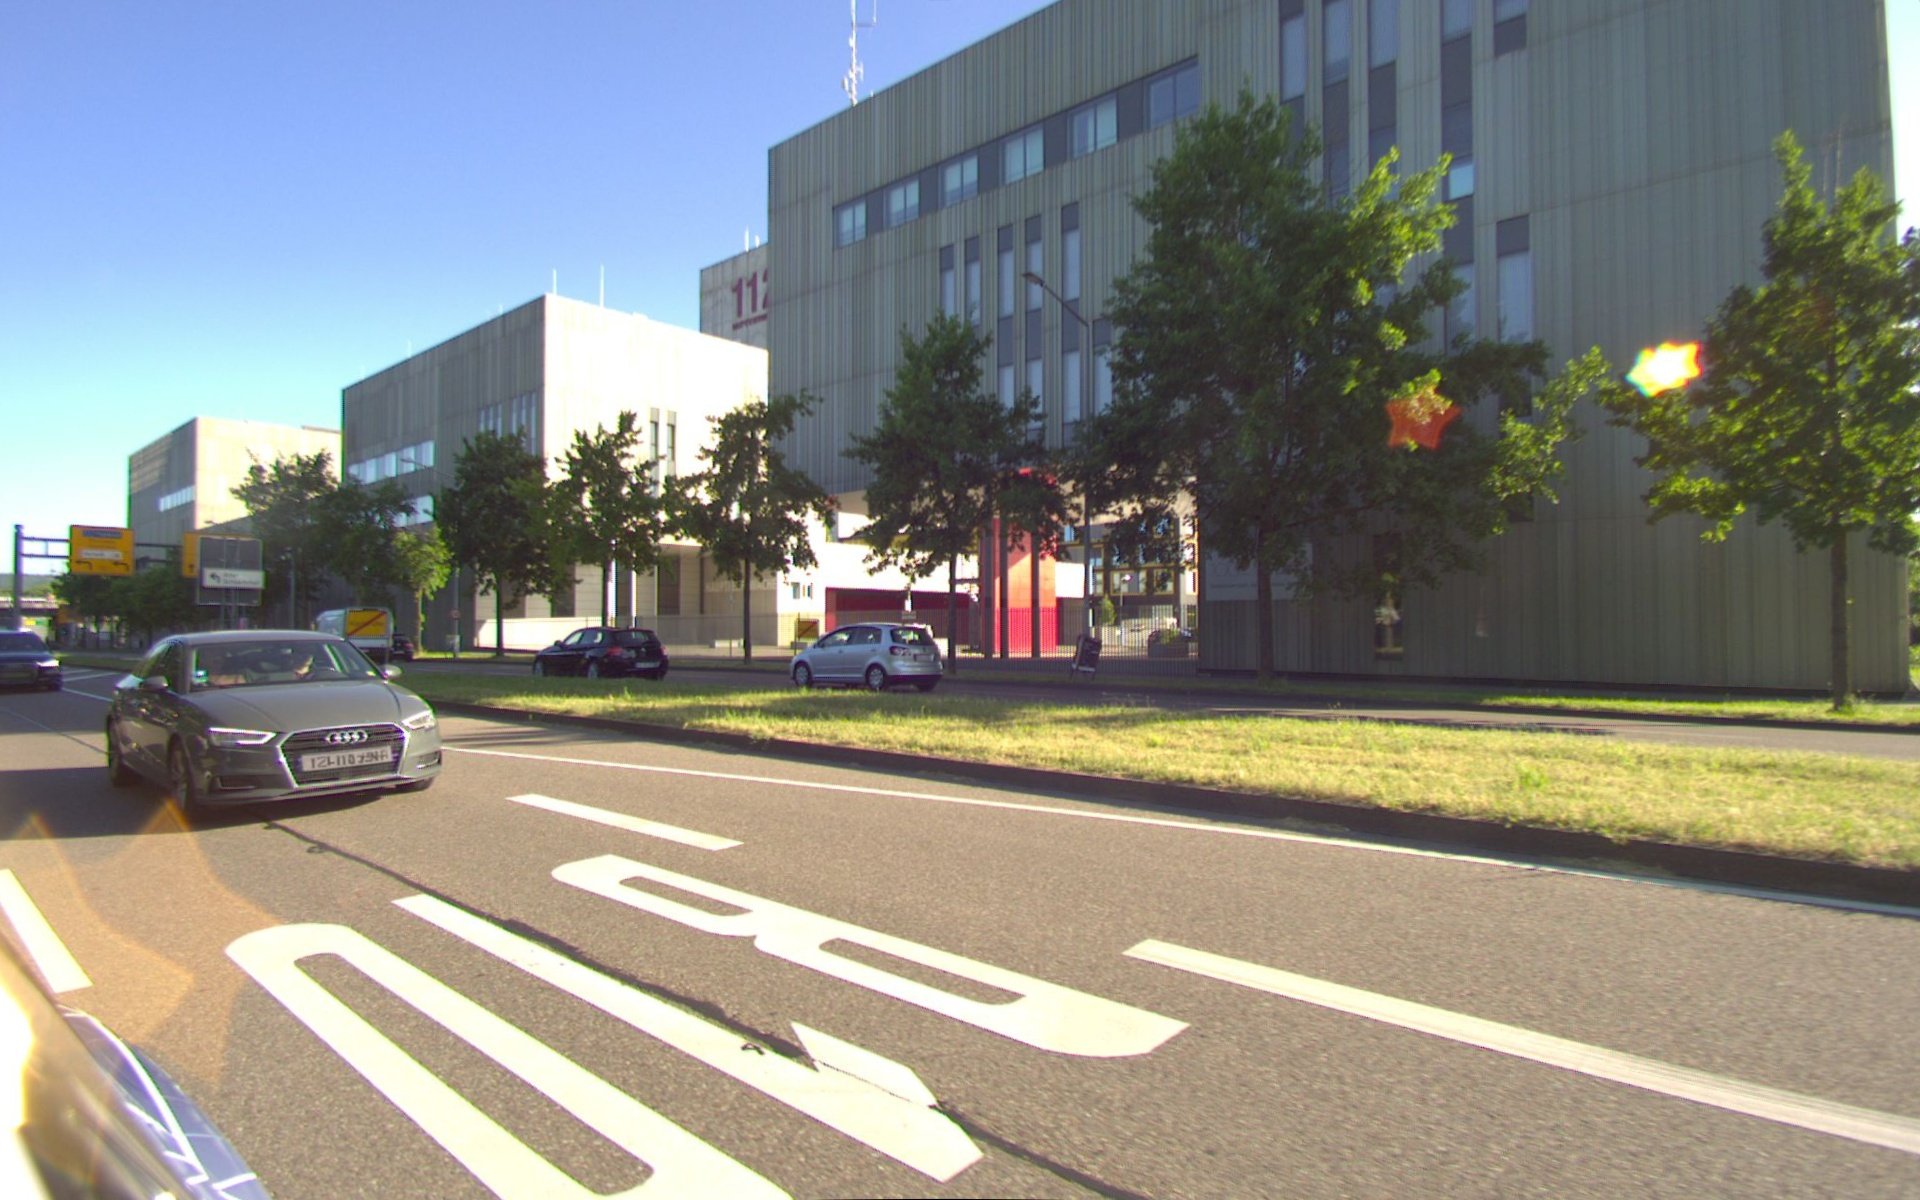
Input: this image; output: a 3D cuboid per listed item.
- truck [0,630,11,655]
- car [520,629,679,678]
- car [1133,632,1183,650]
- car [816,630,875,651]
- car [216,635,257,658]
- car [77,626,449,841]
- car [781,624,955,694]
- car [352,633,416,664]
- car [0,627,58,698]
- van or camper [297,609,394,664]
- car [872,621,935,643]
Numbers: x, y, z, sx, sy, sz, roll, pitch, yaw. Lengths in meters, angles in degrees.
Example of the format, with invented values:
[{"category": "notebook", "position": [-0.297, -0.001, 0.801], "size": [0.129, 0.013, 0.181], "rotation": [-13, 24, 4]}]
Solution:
[{"category": "truck", "position": [-115.510, 5.079, 120.714], "size": [7.112, 2.983, 2.657], "rotation": [-3, -5, 42]}, {"category": "car", "position": [-8.909, 1.286, 24.882], "size": [4.170, 1.120, 1.809], "rotation": [-2, -3, 40]}, {"category": "car", "position": [14.358, 2.961, 73.473], "size": [3.381, 1.268, 1.348], "rotation": [-2, -3, 41]}, {"category": "car", "position": [-8.460, 3.003, 75.007], "size": [1.762, 1.464, 4.209], "rotation": [-3, -3, 43]}, {"category": "car", "position": [-48.395, 3.118, 67.665], "size": [3.457, 1.447, 1.431], "rotation": [-2, -3, 40]}, {"category": "car", "position": [-6.235, 0.975, 8.844], "size": [4.363, 1.415, 1.680], "rotation": [-2, -2, 41]}, {"category": "car", "position": [-2.202, 1.328, 23.508], "size": [4.045, 1.488, 1.671], "rotation": [-2, -3, 40]}, {"category": "car", "position": [-29.348, 2.455, 51.531], "size": [4.023, 1.519, 1.535], "rotation": [-2, -3, 40]}, {"category": "car", "position": [-22.552, 1.438, 23.701], "size": [3.944, 1.549, 1.680], "rotation": [-2, -2, 41]}, {"category": "van or camper", "position": [-28.061, 1.710, 46.135], "size": [5.990, 2.387, 1.973], "rotation": [-2, -4, 41]}, {"category": "car", "position": [-3.936, 2.218, 71.020], "size": [1.935, 1.515, 4.340], "rotation": [-3, -3, 43]}]
